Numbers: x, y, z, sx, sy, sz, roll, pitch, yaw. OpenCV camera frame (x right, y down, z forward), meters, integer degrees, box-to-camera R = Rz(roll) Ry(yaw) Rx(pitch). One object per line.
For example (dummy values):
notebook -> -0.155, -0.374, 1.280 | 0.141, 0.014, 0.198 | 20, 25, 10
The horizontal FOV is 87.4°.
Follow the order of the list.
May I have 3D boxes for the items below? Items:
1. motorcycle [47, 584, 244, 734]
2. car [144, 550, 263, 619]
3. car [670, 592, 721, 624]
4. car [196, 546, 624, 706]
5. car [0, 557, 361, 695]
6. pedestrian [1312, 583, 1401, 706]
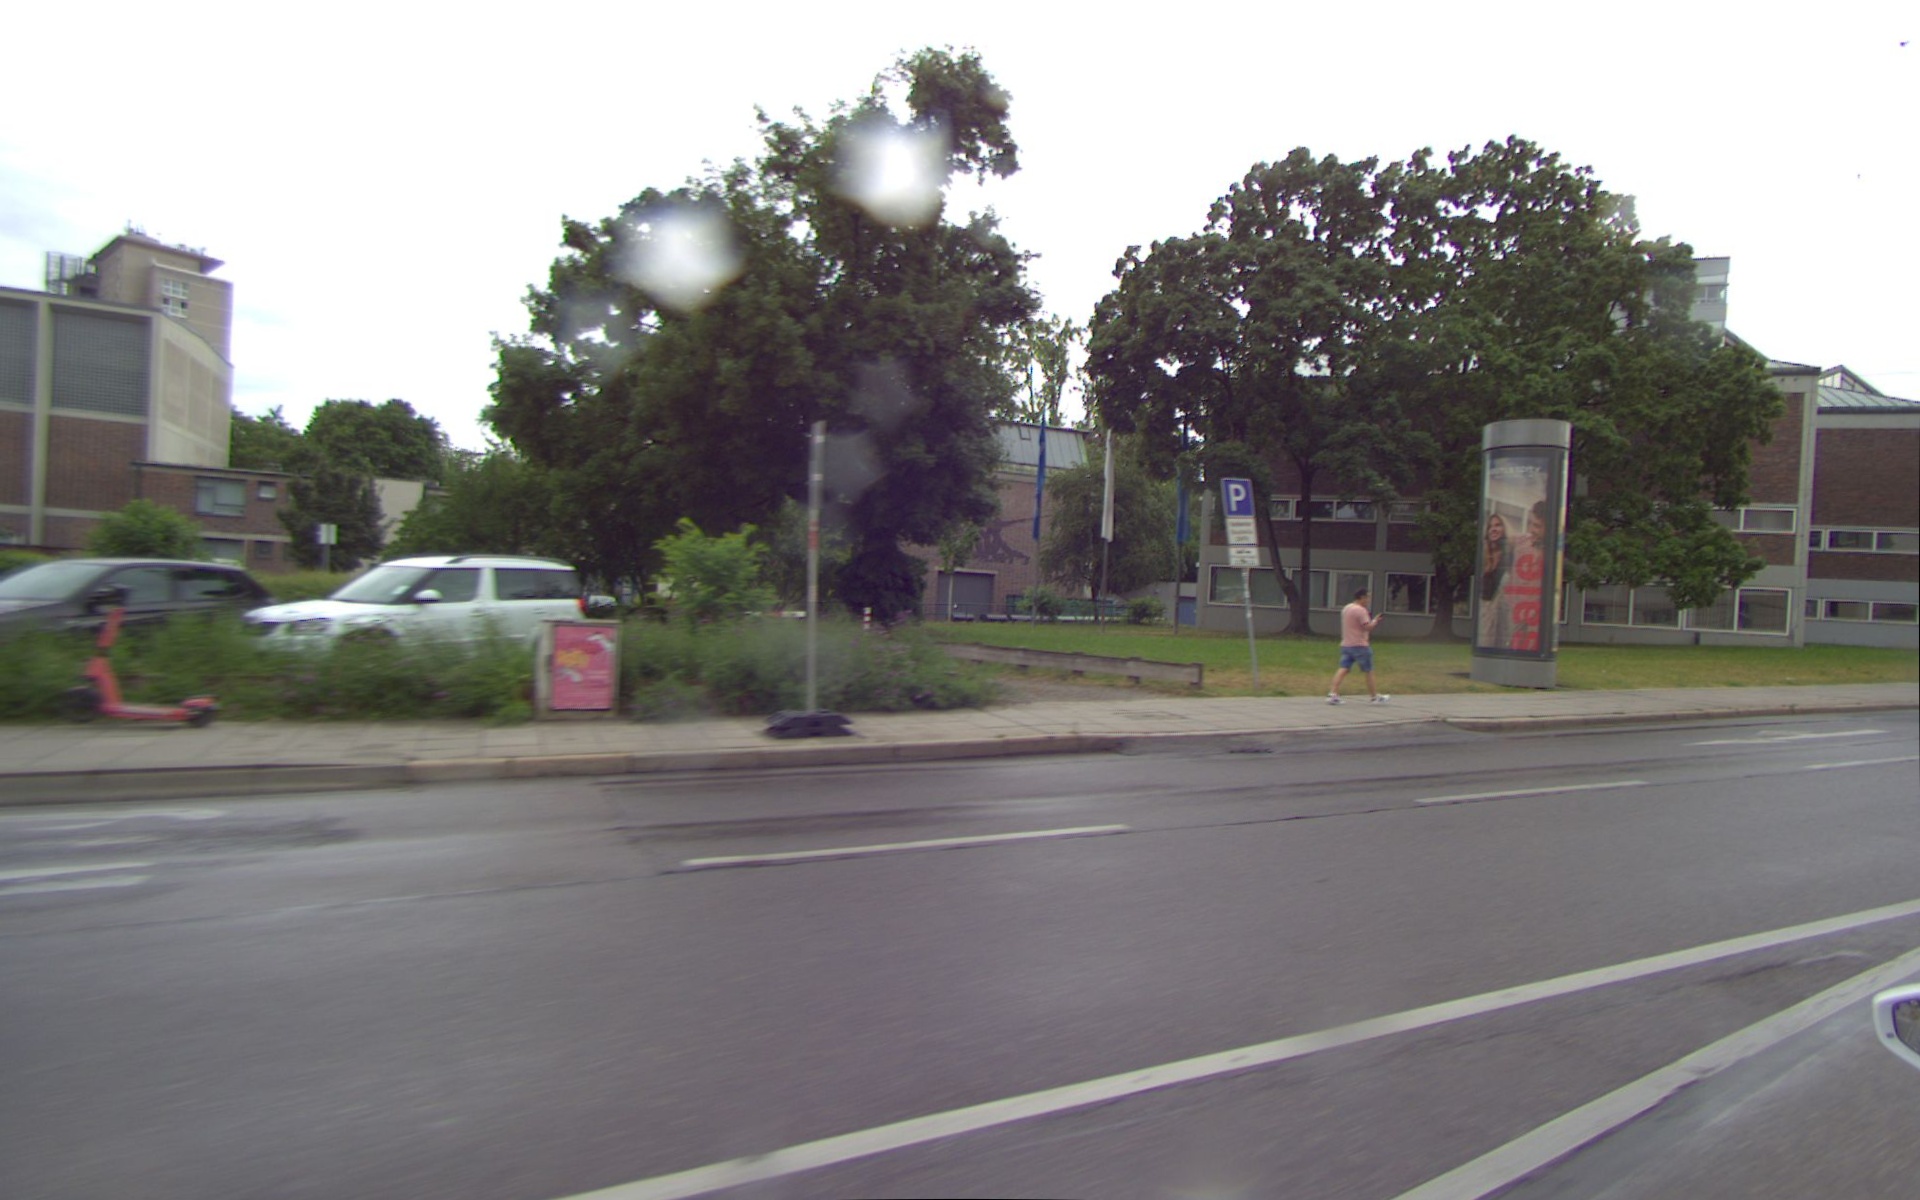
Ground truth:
motorcycle -> -7.270, 0.521, 9.026 | 1.250, 1.264, 0.513 | 2, 2, -25
car -> -34.275, -0.760, 45.775 | 2.700, 2.798, 6.181 | 2, 1, -21
car -> -14.584, 0.424, 55.249 | 1.776, 1.539, 3.970 | 2, 1, -28
car -> -6.793, 0.256, 12.965 | 1.836, 1.631, 4.516 | 4, 2, 31
car -> -9.623, 0.232, 12.399 | 1.806, 1.367, 3.599 | 3, 1, 13
pedestrian -> 5.728, 0.634, 14.526 | 0.899, 1.709, 0.669 | 2, 2, -18
